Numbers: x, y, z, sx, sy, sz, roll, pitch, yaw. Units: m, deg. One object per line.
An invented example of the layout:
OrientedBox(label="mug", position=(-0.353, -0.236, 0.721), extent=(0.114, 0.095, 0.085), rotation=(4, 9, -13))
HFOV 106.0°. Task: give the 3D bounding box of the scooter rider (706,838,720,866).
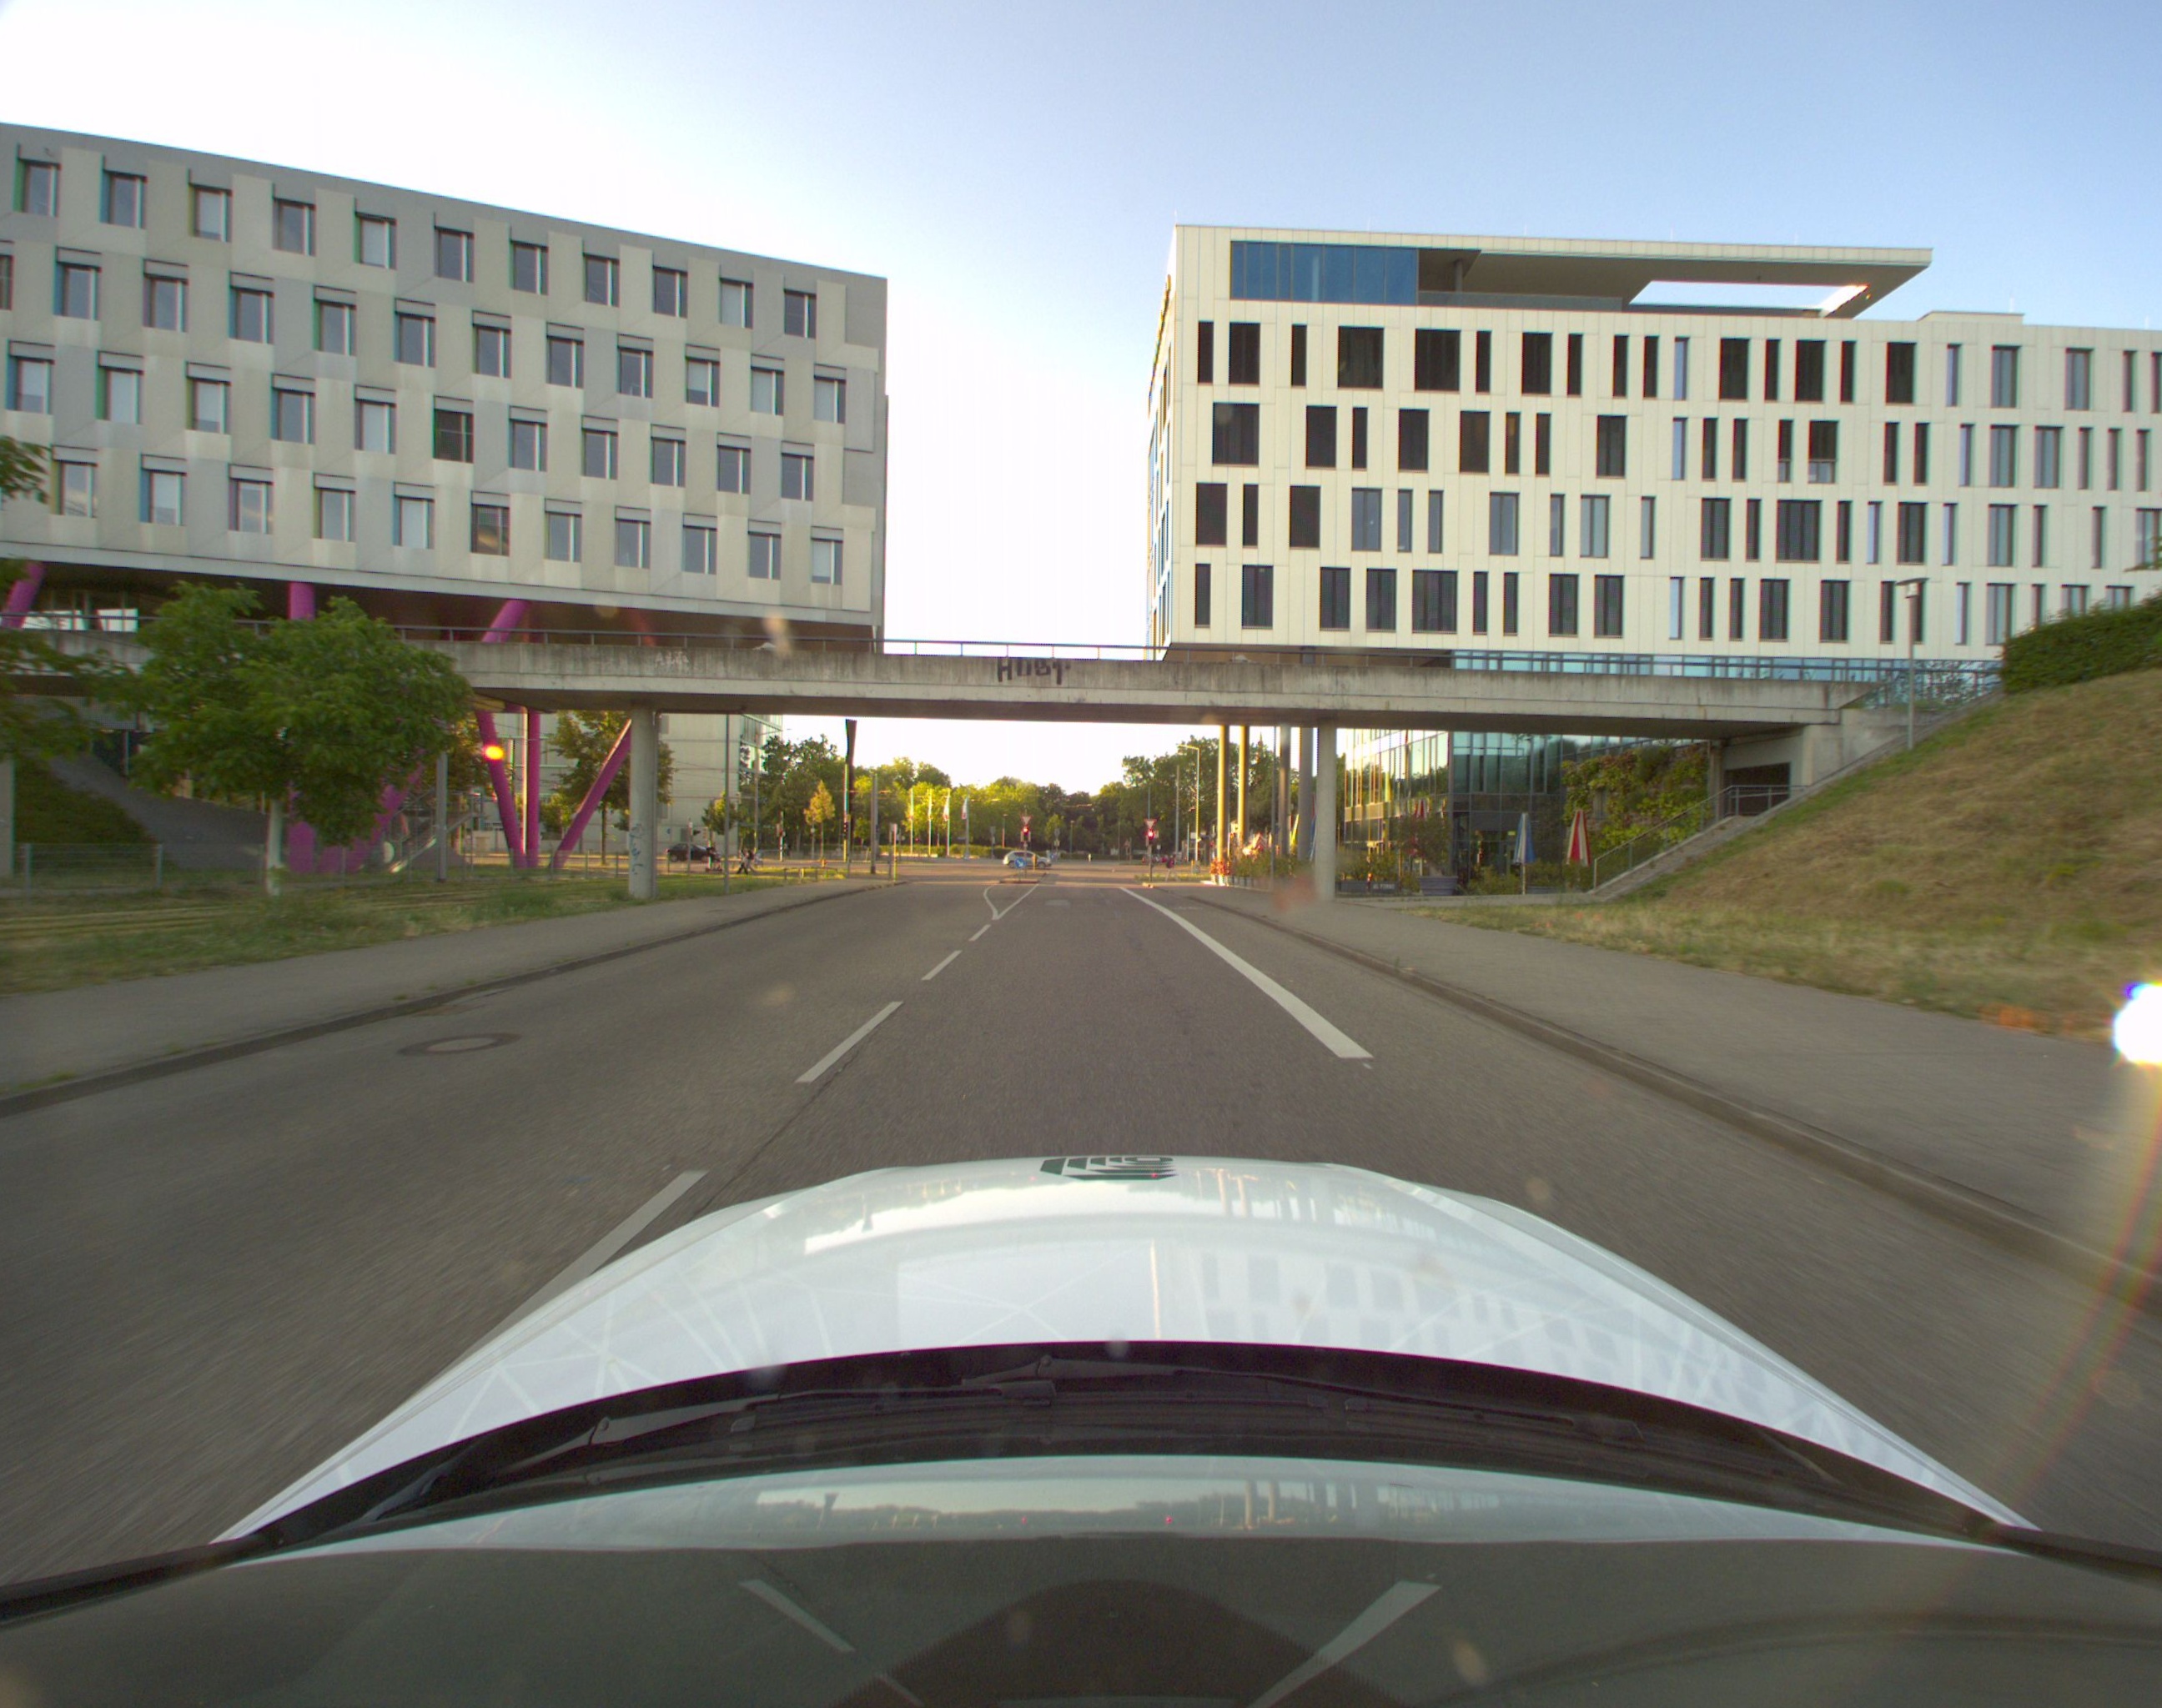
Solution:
OrientedBox(label="scooter rider", position=(-23.410, -0.121, 51.766), extent=(0.704, 1.782, 0.442), rotation=(1, 1, -4))

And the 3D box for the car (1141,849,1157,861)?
OrientedBox(label="car", position=(11.087, 0.168, 132.458), extent=(1.483, 1.760, 3.423), rotation=(1, 1, 26))

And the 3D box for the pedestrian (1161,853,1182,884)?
OrientedBox(label="pedestrian", position=(5.468, 0.873, 49.288), extent=(1.055, 1.833, 0.891), rotation=(0, 1, -13))

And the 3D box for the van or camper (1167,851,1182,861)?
OrientedBox(label="van or camper", position=(19.333, 0.463, 167.965), extent=(1.609, 1.981, 3.830), rotation=(1, 1, 30))

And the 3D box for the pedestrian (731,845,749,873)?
OrientedBox(label="pedestrian", position=(-20.233, 0.297, 48.323), extent=(0.680, 1.624, 0.715), rotation=(1, 1, 17))

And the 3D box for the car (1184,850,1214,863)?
OrientedBox(label="car", position=(18.150, 0.353, 125.687), extent=(4.445, 1.816, 1.948), rotation=(1, 1, 5))

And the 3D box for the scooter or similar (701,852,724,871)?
OrientedBox(label="scooter or similar", position=(-23.438, 0.464, 51.772), extent=(1.211, 1.200, 0.503), rotation=(1, 1, -5))

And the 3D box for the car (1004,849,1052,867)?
OrientedBox(label="car", position=(-4.416, 0.366, 68.476), extent=(4.013, 1.419, 1.601), rotation=(1, 1, -3))

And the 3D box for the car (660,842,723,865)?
OrientedBox(label="car", position=(-33.257, -0.048, 69.623), extent=(4.455, 1.816, 1.944), rotation=(1, 1, -2))

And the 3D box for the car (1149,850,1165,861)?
OrientedBox(label="car", position=(12.771, 0.248, 136.019), extent=(1.483, 1.606, 3.423), rotation=(1, 1, 26))

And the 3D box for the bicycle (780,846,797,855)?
OrientedBox(label="bicycle", position=(-35.989, -0.438, 100.210), extent=(1.972, 1.128, 0.556), rotation=(0, 1, -26))

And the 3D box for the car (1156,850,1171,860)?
OrientedBox(label="car", position=(14.157, 0.176, 139.750), extent=(1.483, 1.606, 3.423), rotation=(1, 1, 26))

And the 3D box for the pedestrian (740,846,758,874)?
OrientedBox(label="pedestrian", position=(-20.023, 0.328, 49.090), extent=(0.695, 1.664, 0.715), rotation=(1, 1, 17))

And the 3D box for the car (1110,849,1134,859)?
OrientedBox(label="car", position=(8.026, 0.062, 159.354), extent=(4.660, 1.869, 2.017), rotation=(1, 1, 6))

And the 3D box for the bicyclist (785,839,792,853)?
OrientedBox(label="bicyclist", position=(-35.934, -0.974, 100.206), extent=(0.760, 1.723, 0.548), rotation=(0, 1, -25))
